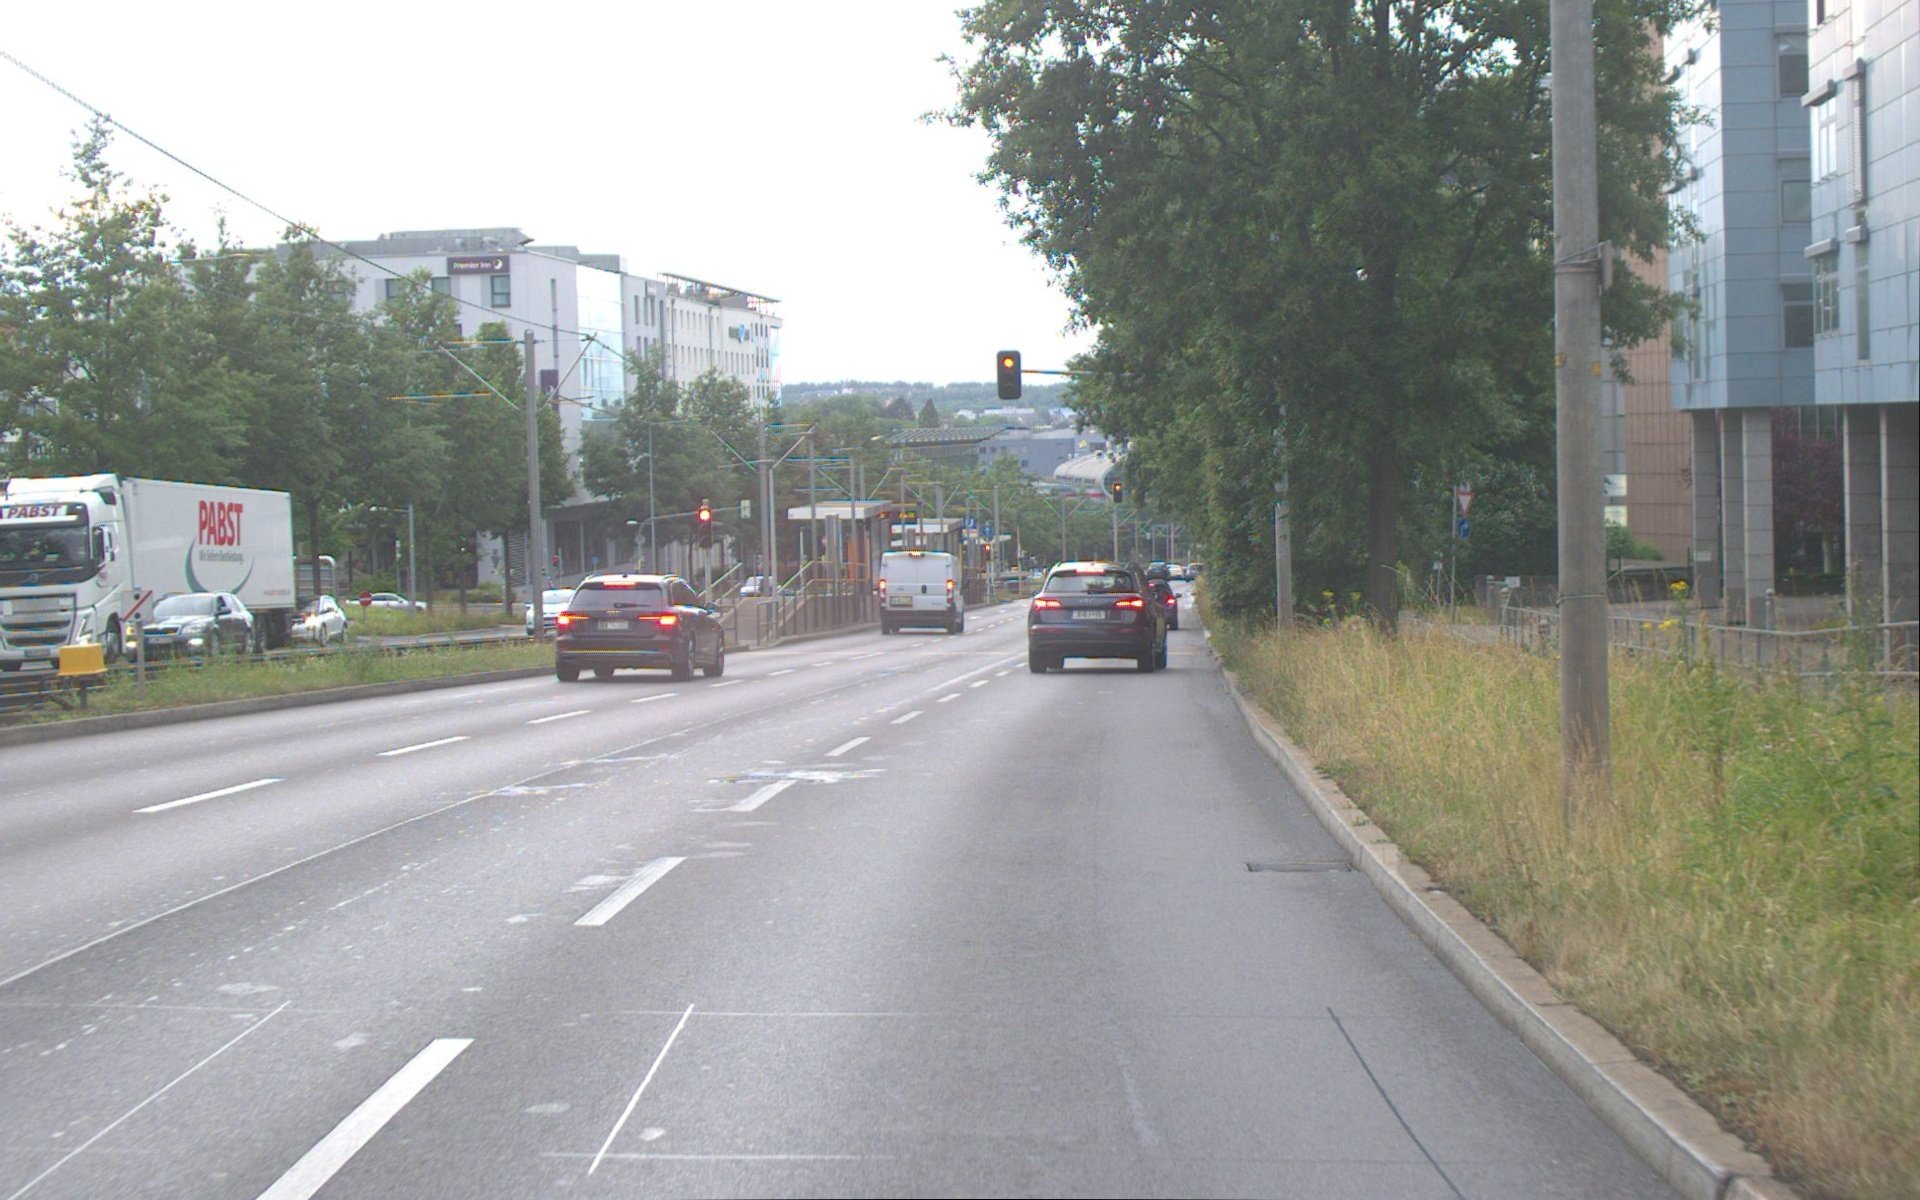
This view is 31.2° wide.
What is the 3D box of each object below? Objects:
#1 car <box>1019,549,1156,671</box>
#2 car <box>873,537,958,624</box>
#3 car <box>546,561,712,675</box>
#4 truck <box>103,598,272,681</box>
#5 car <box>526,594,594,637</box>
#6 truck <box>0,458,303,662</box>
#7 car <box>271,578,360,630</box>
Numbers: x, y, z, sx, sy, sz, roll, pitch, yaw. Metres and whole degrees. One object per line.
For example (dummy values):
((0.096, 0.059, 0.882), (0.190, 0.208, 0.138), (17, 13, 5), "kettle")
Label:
((1.882, 0.113, 51.856), (1.922, 1.704, 4.098), (0, 2, 0), "car")
((-1.268, -0.569, 95.295), (2.267, 2.277, 4.760), (0, 2, -2), "car")
((-4.461, 0.205, 46.952), (1.786, 1.409, 4.806), (0, 2, 0), "car")
((-15.733, 0.776, 70.258), (1.942, 1.562, 4.543), (-3, 0, 6), "truck")
((-13.314, 0.508, 114.608), (1.663, 1.437, 3.896), (0, 0, 3), "car")
((-18.662, -1.010, 78.732), (3.042, 4.166, 17.201), (0, 1, 3), "truck")
((-19.270, 0.116, 102.916), (1.663, 1.539, 3.896), (0, 0, 4), "car")
